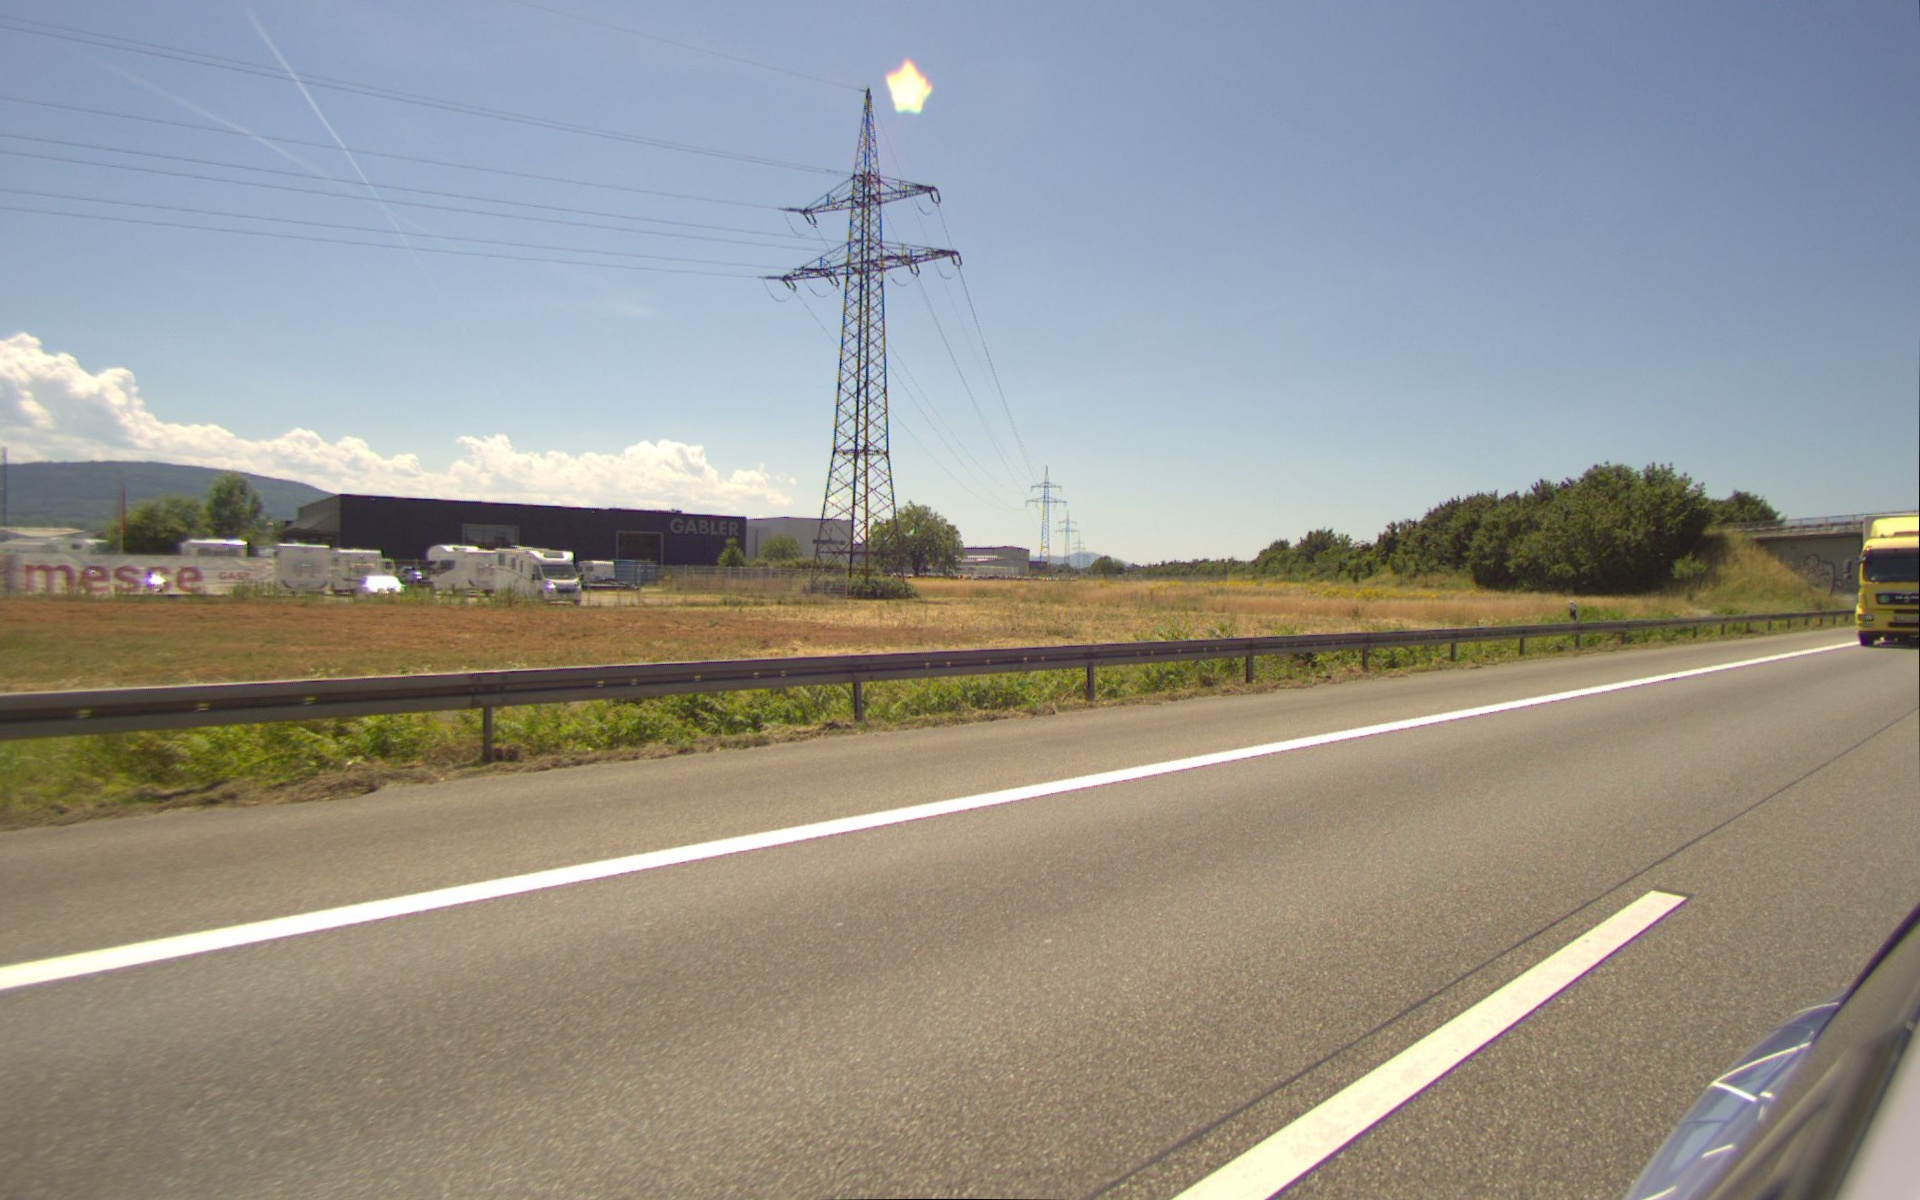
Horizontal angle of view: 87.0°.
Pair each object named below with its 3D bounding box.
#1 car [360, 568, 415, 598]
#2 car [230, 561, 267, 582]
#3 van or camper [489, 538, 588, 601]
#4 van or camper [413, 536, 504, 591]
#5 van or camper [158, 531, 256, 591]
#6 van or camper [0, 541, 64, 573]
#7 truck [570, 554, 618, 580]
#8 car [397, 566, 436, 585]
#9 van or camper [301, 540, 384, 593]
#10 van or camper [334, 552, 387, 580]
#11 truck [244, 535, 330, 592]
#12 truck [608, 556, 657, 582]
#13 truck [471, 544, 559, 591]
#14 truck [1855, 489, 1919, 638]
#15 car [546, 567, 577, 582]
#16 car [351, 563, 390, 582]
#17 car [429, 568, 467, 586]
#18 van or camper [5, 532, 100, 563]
[{"bbox_3d":[-26.649,-0.808,47.071,1.558,1.314,3.899,0,2,-39],"label":"car"},{"bbox_3d":[-49.593,-1.992,70.518,1.670,1.431,3.992,0,2,-42],"label":"car"},{"bbox_3d":[-22.437,-1.608,53.653,2.393,3.139,7.749,0,1,-42],"label":"van or camper"},{"bbox_3d":[-31.835,-2.291,64.100,7.738,3.233,2.633,2,1,44],"label":"van or camper"},{"bbox_3d":[-39.579,-2.027,53.079,3.105,2.916,7.743,0,2,-45],"label":"van or camper"},{"bbox_3d":[-86.085,-3.980,92.816,5.849,2.775,2.502,2,2,4],"label":"van or camper"},{"bbox_3d":[-36.963,-3.367,102.065,2.528,2.477,6.145,0,2,-40],"label":"truck"},{"bbox_3d":[-41.262,-1.868,76.846,1.670,1.371,3.992,0,2,-42],"label":"car"},{"bbox_3d":[-36.797,-1.981,60.182,2.561,2.916,7.743,0,2,-45],"label":"van or camper"},{"bbox_3d":[-52.880,-3.036,89.156,2.715,2.284,6.218,0,2,-44],"label":"van or camper"},{"bbox_3d":[-37.152,-2.010,55.746,2.561,2.916,7.743,0,2,-45],"label":"truck"},{"bbox_3d":[-33.843,-3.248,104.443,2.528,2.477,6.787,0,2,-40],"label":"truck"},{"bbox_3d":[-29.246,-2.148,66.352,2.728,2.916,7.743,0,2,-45],"label":"truck"},{"bbox_3d":[31.497,-1.074,32.395,10.495,4.253,2.938,0,0,-41],"label":"truck"},{"bbox_3d":[-39.215,-2.529,99.525,1.692,1.371,3.662,0,2,-42],"label":"car"},{"bbox_3d":[-43.768,-2.035,75.125,1.670,1.371,3.992,0,2,-42],"label":"car"},{"bbox_3d":[-39.836,-1.817,78.701,1.670,1.371,3.992,0,2,-42],"label":"car"},{"bbox_3d":[-88.809,-5.148,99.162,6.518,2.775,2.509,1,2,-27],"label":"van or camper"}]
